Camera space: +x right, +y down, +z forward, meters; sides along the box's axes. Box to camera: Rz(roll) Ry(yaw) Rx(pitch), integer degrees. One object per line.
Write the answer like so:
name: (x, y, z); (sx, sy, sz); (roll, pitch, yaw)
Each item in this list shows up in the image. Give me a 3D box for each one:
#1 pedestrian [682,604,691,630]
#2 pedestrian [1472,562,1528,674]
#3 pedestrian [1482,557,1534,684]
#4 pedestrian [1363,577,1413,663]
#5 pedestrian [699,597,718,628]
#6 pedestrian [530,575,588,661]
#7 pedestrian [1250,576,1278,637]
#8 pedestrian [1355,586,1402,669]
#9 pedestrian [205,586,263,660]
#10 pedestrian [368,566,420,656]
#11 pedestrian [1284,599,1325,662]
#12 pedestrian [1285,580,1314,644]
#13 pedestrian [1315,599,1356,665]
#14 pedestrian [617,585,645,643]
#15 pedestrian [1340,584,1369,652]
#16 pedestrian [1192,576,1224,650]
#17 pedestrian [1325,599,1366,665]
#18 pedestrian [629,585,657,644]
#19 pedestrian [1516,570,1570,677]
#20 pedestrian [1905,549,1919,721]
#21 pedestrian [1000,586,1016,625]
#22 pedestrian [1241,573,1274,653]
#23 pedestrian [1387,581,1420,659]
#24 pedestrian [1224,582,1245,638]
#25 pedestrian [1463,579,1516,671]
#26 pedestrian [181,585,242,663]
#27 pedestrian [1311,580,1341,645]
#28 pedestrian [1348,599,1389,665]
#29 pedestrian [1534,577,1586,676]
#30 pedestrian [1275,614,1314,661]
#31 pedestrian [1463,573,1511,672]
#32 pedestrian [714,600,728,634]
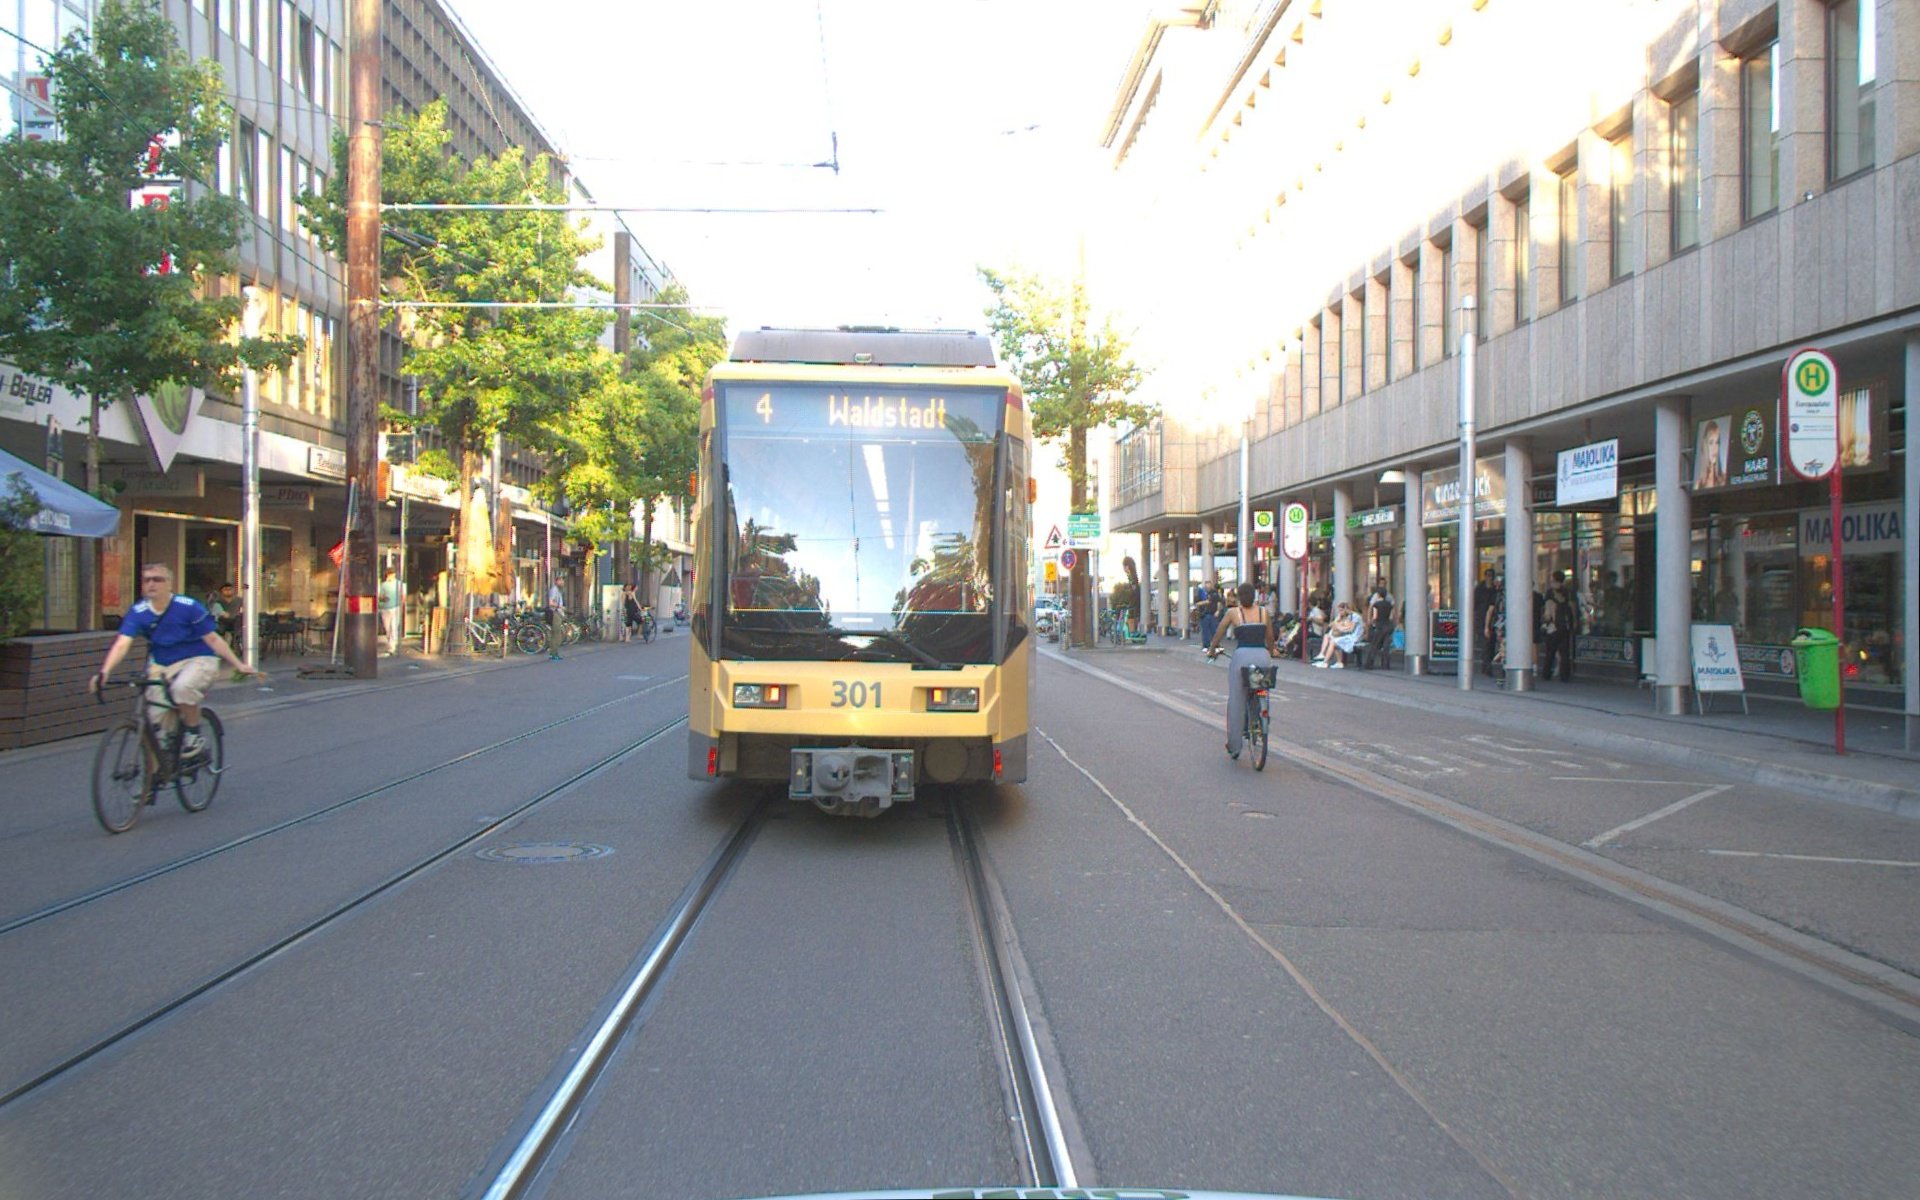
pedestrian: (-16.540, 1.011, 100.093); (0.499, 1.574, 0.517); (0, -1, -10)
pedestrian: (9.408, 0.312, 28.838); (0.692, 1.922, 0.796); (-1, -1, -1)
pedestrian: (8.675, 0.324, 26.191); (0.566, 1.978, 0.655); (-1, -1, -2)
pedestrian: (9.236, 0.434, 35.708); (0.827, 1.829, 0.858); (-1, 0, -2)
pedestrian: (-11.841, 0.596, 77.805); (0.544, 1.459, 0.682); (-1, -1, 36)
pedestrian: (-8.691, 0.380, 35.852); (0.974, 1.824, 0.817); (0, -1, 44)
pedestrian: (8.530, 0.174, 46.410); (0.635, 1.690, 0.650); (-1, 0, -1)
pedestrian: (8.211, 0.533, 32.456); (0.709, 1.597, 0.736); (-1, 0, 0)
pedestrian: (-13.613, 0.427, 31.033); (0.657, 1.349, 0.911); (3, -1, -3)
pedestrian: (-11.881, 0.226, 34.739); (0.670, 1.824, 0.990); (2, -1, 1)
pedestrian: (7.819, 0.693, 37.561); (0.796, 1.405, 0.662); (1, -1, 0)
pedestrian: (9.678, 0.340, 47.184); (0.649, 1.818, 0.719); (-1, -1, -2)
pedestrian: (7.736, 0.646, 34.092); (0.703, 1.337, 0.532); (1, -1, -1)
pedestrian: (-9.794, 0.413, 49.262); (0.589, 1.729, 0.535); (1, 0, 27)
pedestrian: (10.244, 0.469, 43.007); (0.559, 1.762, 0.617); (-1, 0, -3)
pedestrian: (6.318, 0.329, 42.154); (0.655, 1.872, 0.708); (-1, 0, -2)
pedestrian: (7.821, 0.645, 33.557); (0.703, 1.337, 0.524); (1, -1, -1)
pedestrian: (-9.341, 0.417, 48.741); (0.589, 1.729, 0.535); (1, 0, 27)
pedestrian: (10.642, 0.422, 30.206); (0.673, 1.916, 0.773); (-1, 0, -3)
pedestrian: (11.086, 0.383, 18.196); (0.827, 1.922, 0.899); (-1, 0, -2)
pedestrian: (2.224, 0.259, 76.670); (0.703, 1.756, 0.709); (0, -1, -1)
pedestrian: (7.010, 0.301, 39.021); (0.626, 1.872, 0.667); (-1, 0, -1)
pedestrian: (10.216, 0.453, 38.134); (0.559, 1.762, 0.617); (-1, 0, -3)
pedestrian: (8.998, 0.322, 54.285); (0.528, 1.838, 0.604); (-1, 0, -3)
pedestrian: (10.543, 0.490, 32.927); (0.757, 1.803, 0.773); (-1, -1, -3)
pedestrian: (-13.501, 0.425, 29.840); (0.657, 1.349, 0.911); (3, -1, -3)
pedestrian: (10.447, 0.359, 47.180); (0.649, 1.818, 0.719); (-1, -1, -2)
pedestrian: (8.458, 0.658, 34.229); (0.703, 1.337, 0.532); (1, -1, -1)
pedestrian: (10.345, 0.451, 28.533); (0.635, 1.690, 0.680); (-1, 0, -1)
pedestrian: (7.738, 0.862, 38.261); (0.796, 1.061, 0.544); (1, -1, -1)
pedestrian: (9.653, 0.408, 30.303); (0.570, 1.783, 0.773); (-1, 0, -3)
pedestrian: (-10.706, 0.749, 74.150); (0.592, 1.520, 0.554); (0, -1, -10)
